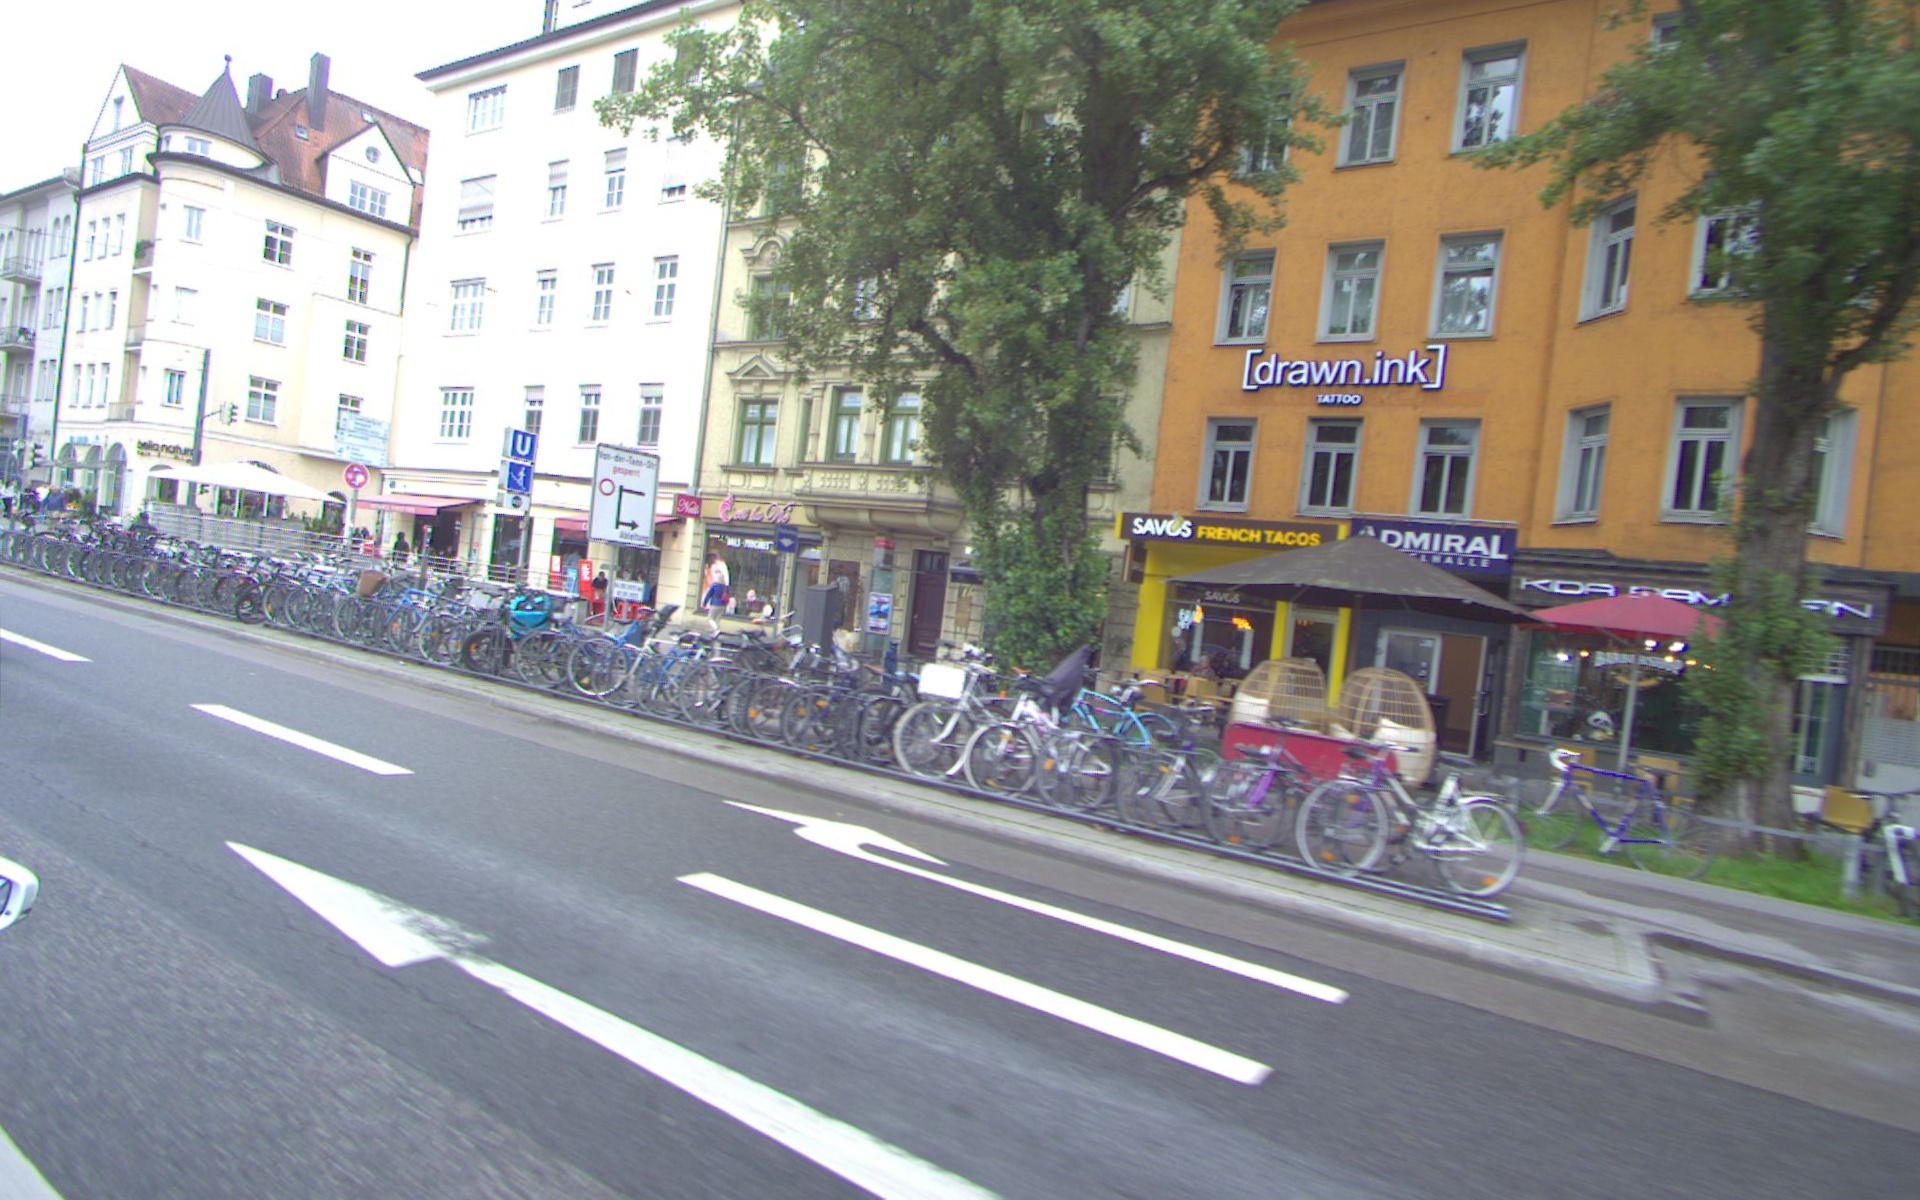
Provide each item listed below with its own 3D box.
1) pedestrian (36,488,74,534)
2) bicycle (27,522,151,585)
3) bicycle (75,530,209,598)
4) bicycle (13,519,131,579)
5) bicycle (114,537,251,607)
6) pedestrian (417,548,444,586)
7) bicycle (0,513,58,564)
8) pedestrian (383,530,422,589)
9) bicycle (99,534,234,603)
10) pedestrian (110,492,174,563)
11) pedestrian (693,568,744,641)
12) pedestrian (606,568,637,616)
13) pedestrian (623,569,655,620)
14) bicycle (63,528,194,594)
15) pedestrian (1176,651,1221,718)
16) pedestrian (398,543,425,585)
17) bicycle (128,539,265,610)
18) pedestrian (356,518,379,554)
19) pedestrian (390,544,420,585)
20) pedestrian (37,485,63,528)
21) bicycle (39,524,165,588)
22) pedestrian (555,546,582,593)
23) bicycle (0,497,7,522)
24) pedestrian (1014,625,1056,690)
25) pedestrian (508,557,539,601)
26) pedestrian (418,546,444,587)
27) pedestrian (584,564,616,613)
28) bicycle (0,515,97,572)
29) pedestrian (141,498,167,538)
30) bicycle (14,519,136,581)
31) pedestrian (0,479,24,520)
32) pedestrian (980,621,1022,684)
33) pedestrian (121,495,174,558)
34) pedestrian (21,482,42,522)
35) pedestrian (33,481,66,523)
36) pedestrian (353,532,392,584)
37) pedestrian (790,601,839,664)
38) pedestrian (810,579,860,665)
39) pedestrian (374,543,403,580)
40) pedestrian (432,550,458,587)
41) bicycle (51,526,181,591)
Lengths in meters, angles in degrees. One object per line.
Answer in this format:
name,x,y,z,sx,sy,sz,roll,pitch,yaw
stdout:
pedestrian,-38.126,-3.756,42.381,1.050,1.777,0.932,7,1,41
bicycle,-17.070,-0.909,19.744,1.813,1.008,0.347,6,1,-15
bicycle,-14.860,-0.643,18.312,1.815,1.008,0.346,6,1,-19
bicycle,-18.081,-1.026,20.502,1.812,1.008,0.347,6,1,-12
bicycle,-13.599,-0.486,17.632,1.815,1.008,0.346,6,1,-19
pedestrian,-17.498,-1.100,33.257,0.518,1.180,0.479,7,1,30
bicycle,-21.192,-1.410,22.283,1.812,1.008,0.347,6,1,-14
pedestrian,-16.513,-1.197,29.782,0.666,1.653,0.615,7,1,32
bicycle,-14.142,-0.552,17.972,1.815,1.008,0.346,6,1,-19
pedestrian,-22.024,-1.941,27.104,0.842,1.765,0.884,7,1,16
pedestrian,-5.886,0.115,24.529,0.773,1.653,0.711,7,1,32
pedestrian,-9.832,-0.227,29.241,0.543,1.305,0.495,7,1,32
pedestrian,-9.098,-0.149,28.515,0.543,1.349,0.495,7,1,32
bicycle,-15.410,-0.709,18.675,1.815,1.008,0.346,6,1,-19
pedestrian,4.728,1.659,19.897,0.573,1.233,0.623,7,1,31
pedestrian,-18.359,-1.207,33.682,0.518,1.315,0.479,7,1,30
bicycle,-13.084,-0.425,17.263,1.813,1.008,0.347,6,1,-15
pedestrian,-30.977,-3.322,52.568,0.736,1.728,0.679,12,4,41
pedestrian,-19.154,-1.235,34.720,0.691,1.308,0.515,7,1,30
pedestrian,-40.088,-4.124,44.313,0.645,1.774,0.630,7,4,-36
bicycle,-16.520,-0.843,19.395,1.813,1.008,0.347,6,1,-15
pedestrian,-12.470,-0.958,32.034,0.481,1.414,0.509,7,1,37
bicycle,-43.773,-4.159,45.393,1.834,1.072,0.495,7,1,28
pedestrian,1.610,1.235,21.533,0.573,1.296,0.584,7,1,31
pedestrian,-13.676,-0.653,31.518,0.543,1.305,0.541,7,1,32
pedestrian,-18.047,-1.137,34.320,0.518,1.315,0.479,7,1,30
pedestrian,-10.197,-0.310,28.471,0.543,1.305,0.495,7,1,32
bicycle,-19.388,-1.190,21.190,1.812,1.008,0.347,6,1,-14
pedestrian,-36.842,-3.749,46.000,0.675,1.707,0.740,7,4,-30
bicycle,-17.670,-0.982,20.108,1.813,1.008,0.347,6,1,-15
pedestrian,-41.488,-4.413,44.019,0.562,1.693,0.556,7,4,-35
pedestrian,0.901,1.151,22.043,0.573,1.296,0.584,7,1,31
pedestrian,-23.828,-2.150,29.515,0.753,1.716,0.761,7,1,7
pedestrian,-41.225,-4.353,44.666,0.559,1.631,0.560,6,4,-45
pedestrian,-40.726,-4.358,45.014,0.720,1.728,0.645,9,3,3
pedestrian,-17.354,-1.239,29.713,0.606,1.440,0.676,7,1,32
pedestrian,-3.056,0.683,21.175,0.655,1.237,0.601,7,1,32
pedestrian,-2.677,0.481,21.596,0.655,1.761,0.601,7,1,32
pedestrian,-19.919,-1.335,35.069,0.691,1.197,0.515,7,1,30
pedestrian,-17.283,-1.050,33.745,0.518,1.180,0.479,7,1,30
bicycle,-15.949,-0.773,19.041,1.815,1.008,0.346,6,1,-19
